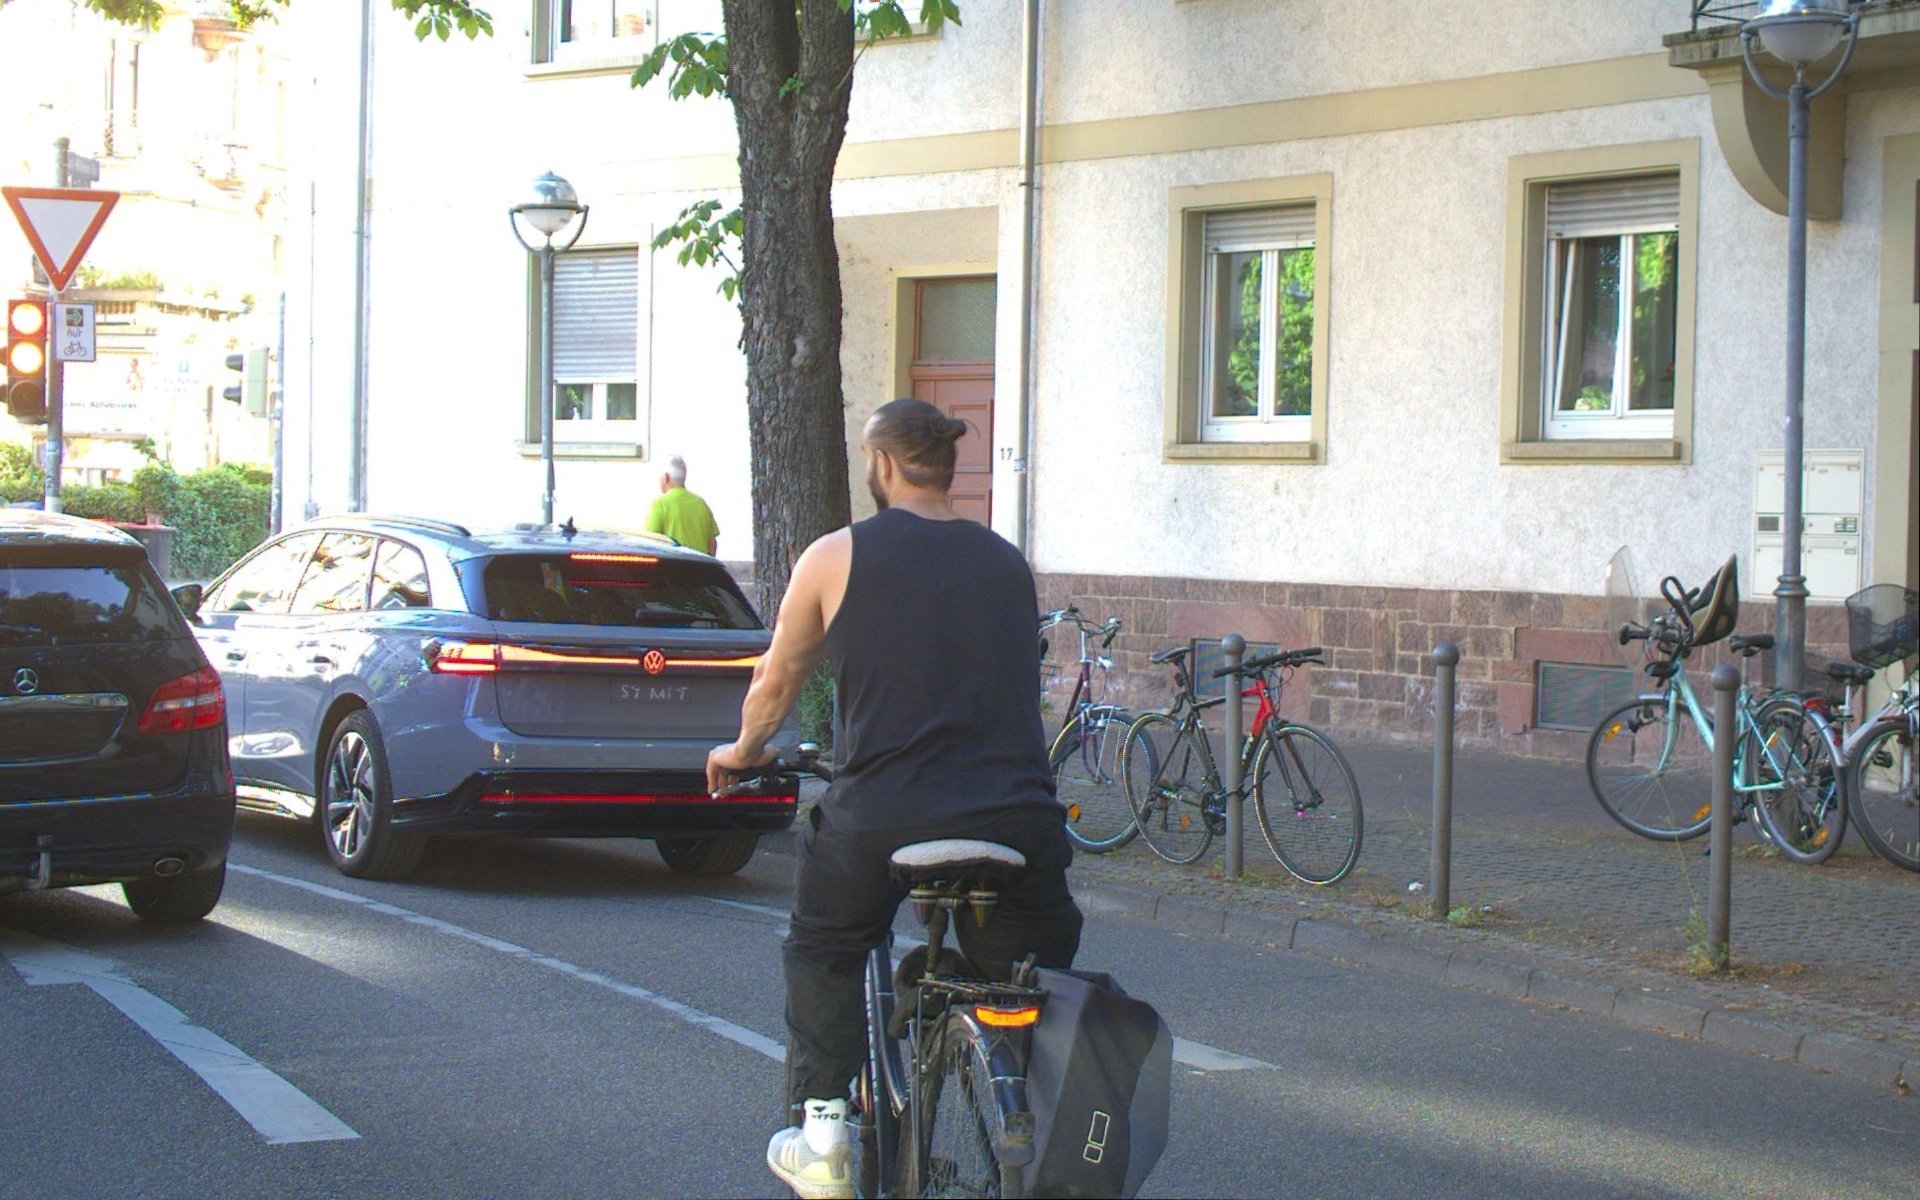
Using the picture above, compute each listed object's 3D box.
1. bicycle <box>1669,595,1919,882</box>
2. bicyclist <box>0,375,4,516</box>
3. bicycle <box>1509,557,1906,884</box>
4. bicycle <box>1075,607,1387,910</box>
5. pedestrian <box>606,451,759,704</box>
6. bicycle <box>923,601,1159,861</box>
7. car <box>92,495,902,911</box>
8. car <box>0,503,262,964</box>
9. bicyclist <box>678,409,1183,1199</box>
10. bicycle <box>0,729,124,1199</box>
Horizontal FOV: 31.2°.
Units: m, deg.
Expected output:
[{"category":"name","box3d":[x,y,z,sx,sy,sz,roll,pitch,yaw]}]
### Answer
[{"category":"bicycle","box3d":[3.901,0.568,14.906,0.667,1.103,1.967,1,1,-19]},{"category":"bicyclist","box3d":[-2.368,0.344,6.547,0.707,1.568,0.957,1,1,-38]},{"category":"bicycle","box3d":[3.189,0.472,14.887,0.717,1.273,1.967,-1,2,-21]},{"category":"bicycle","box3d":[1.105,0.626,14.404,0.526,1.103,1.741,-2,3,-24]},{"category":"pedestrian","box3d":[-1.948,-0.174,24.088,0.643,1.721,0.888,-3,3,-41]},{"category":"bicycle","box3d":[0.354,0.581,16.005,0.480,1.060,1.636,-2,3,-22]},{"category":"car","box3d":[-2.292,0.388,15.793,1.970,1.580,4.475,3,0,-31]},{"category":"car","box3d":[-4.283,0.407,13.232,1.790,1.536,3.860,-2,2,-34]},{"category":"bicyclist","box3d":[-0.084,0.493,6.270,0.686,1.650,0.990,0,2,-15]},{"category":"bicycle","box3d":[-2.386,0.777,6.672,0.717,1.103,1.966,1,2,-38]}]
